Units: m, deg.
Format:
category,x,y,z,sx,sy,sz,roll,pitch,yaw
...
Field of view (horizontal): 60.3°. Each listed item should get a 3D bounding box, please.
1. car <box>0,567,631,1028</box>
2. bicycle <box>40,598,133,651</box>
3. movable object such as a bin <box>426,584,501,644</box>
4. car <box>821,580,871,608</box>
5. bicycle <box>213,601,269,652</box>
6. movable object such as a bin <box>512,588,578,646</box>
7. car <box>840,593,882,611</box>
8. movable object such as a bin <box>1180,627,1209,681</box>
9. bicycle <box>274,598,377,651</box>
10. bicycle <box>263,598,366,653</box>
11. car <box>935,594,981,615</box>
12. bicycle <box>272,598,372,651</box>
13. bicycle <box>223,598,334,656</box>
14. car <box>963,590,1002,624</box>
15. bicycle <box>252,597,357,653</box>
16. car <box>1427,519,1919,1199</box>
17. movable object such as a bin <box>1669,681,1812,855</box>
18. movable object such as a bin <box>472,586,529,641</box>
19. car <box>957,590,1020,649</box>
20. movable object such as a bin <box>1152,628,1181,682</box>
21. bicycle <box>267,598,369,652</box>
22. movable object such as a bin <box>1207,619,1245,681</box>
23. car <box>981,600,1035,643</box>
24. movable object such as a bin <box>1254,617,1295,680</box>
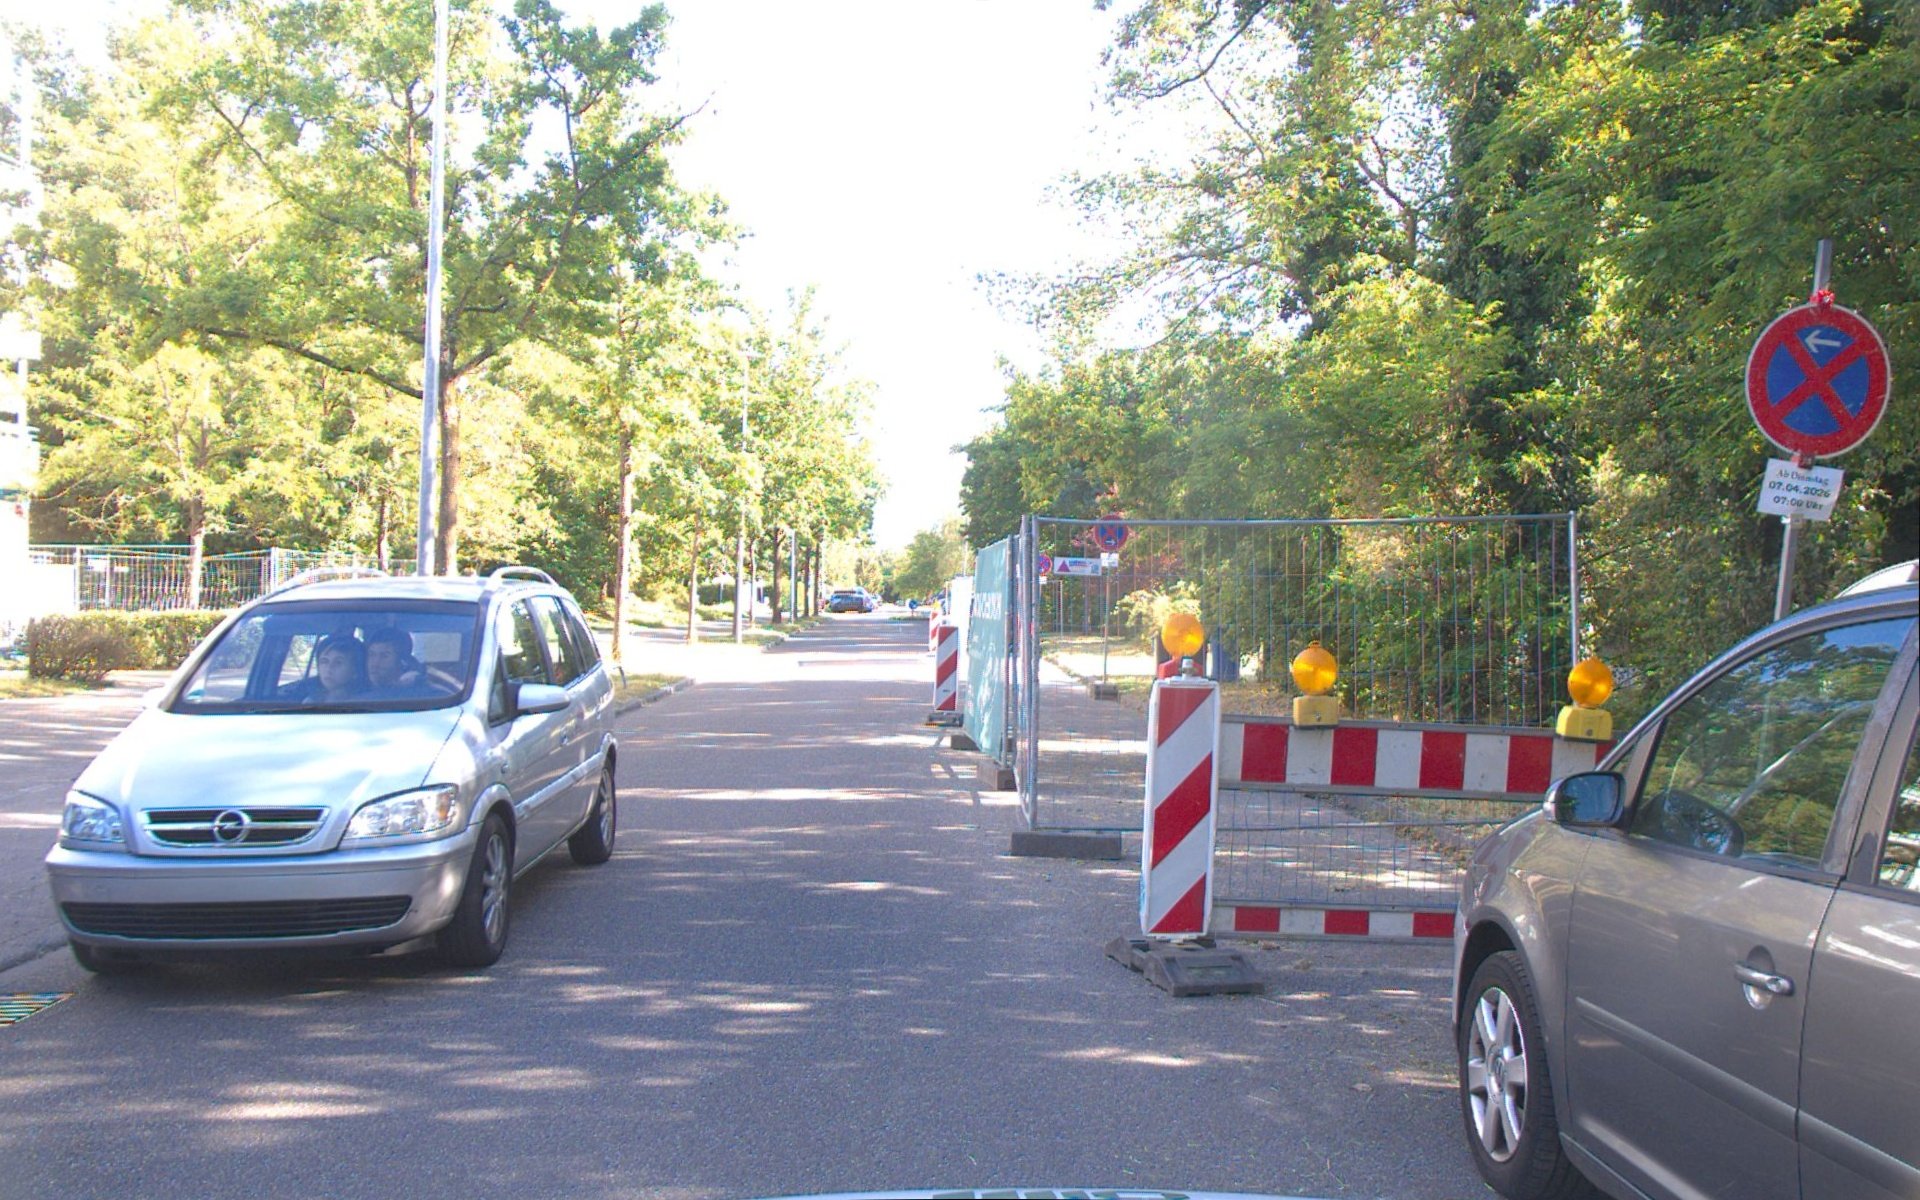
category,x,y,z,sx,sy,sz,roll,pitch,yaw
car,-2.739,0.709,8.011,1.626,1.624,4.006,-1,0,-3
bicycle,-17.537,0.487,33.215,1.659,1.045,0.401,1,-1,4
movable object such as a bin,-12.441,0.339,41.440,1.244,1.460,1.324,0,0,26
car,-11.907,-0.651,172.692,5.100,2.666,2.290,2,0,-7
bicycle,-14.924,0.546,34.376,0.391,1.045,1.700,1,-1,1
movable object such as a bin,-10.687,0.422,42.634,1.242,1.460,1.182,0,0,15
car,-9.778,0.209,163.806,4.022,1.604,1.958,2,0,0
movable object such as a bin,3.920,0.902,27.657,0.404,0.885,0.484,-1,-1,-1
bicycle,-12.826,0.500,33.468,1.882,1.045,0.399,1,-1,-15
bicycle,-12.514,0.493,32.119,1.807,1.045,0.399,1,-1,-15
car,-0.143,0.373,143.262,3.758,1.604,1.689,2,0,5
bicycle,-12.718,0.495,33.007,1.807,1.045,0.399,1,-1,-15
bicycle,-12.636,0.503,30.700,1.837,1.045,0.399,1,-1,-15
car,1.240,0.393,93.894,1.756,1.816,4.552,2,0,-5
bicycle,-12.528,0.488,31.646,1.824,1.045,0.399,1,-1,-15
car,2.333,0.717,2.954,1.645,1.650,4.135,2,0,-2
movable object such as a bin,4.184,0.890,8.892,0.474,0.876,0.559,1,0,-4
movable object such as a bin,-12.311,0.350,44.297,1.132,1.460,1.258,0,0,-35
car,0.928,0.582,51.315,1.772,1.680,4.422,2,0,2
movable object such as a bin,3.441,0.911,27.560,0.404,0.885,0.484,-1,-1,-1
bicycle,-12.634,0.496,32.587,1.828,1.045,0.399,1,-1,-15
movable object such as a bin,4.429,0.825,27.569,0.508,1.017,0.608,-1,-1,-1
car,1.656,0.735,58.155,1.628,1.399,4.153,2,0,-2
movable object such as a bin,5.260,0.808,27.694,0.551,1.017,0.608,-1,-1,-1
